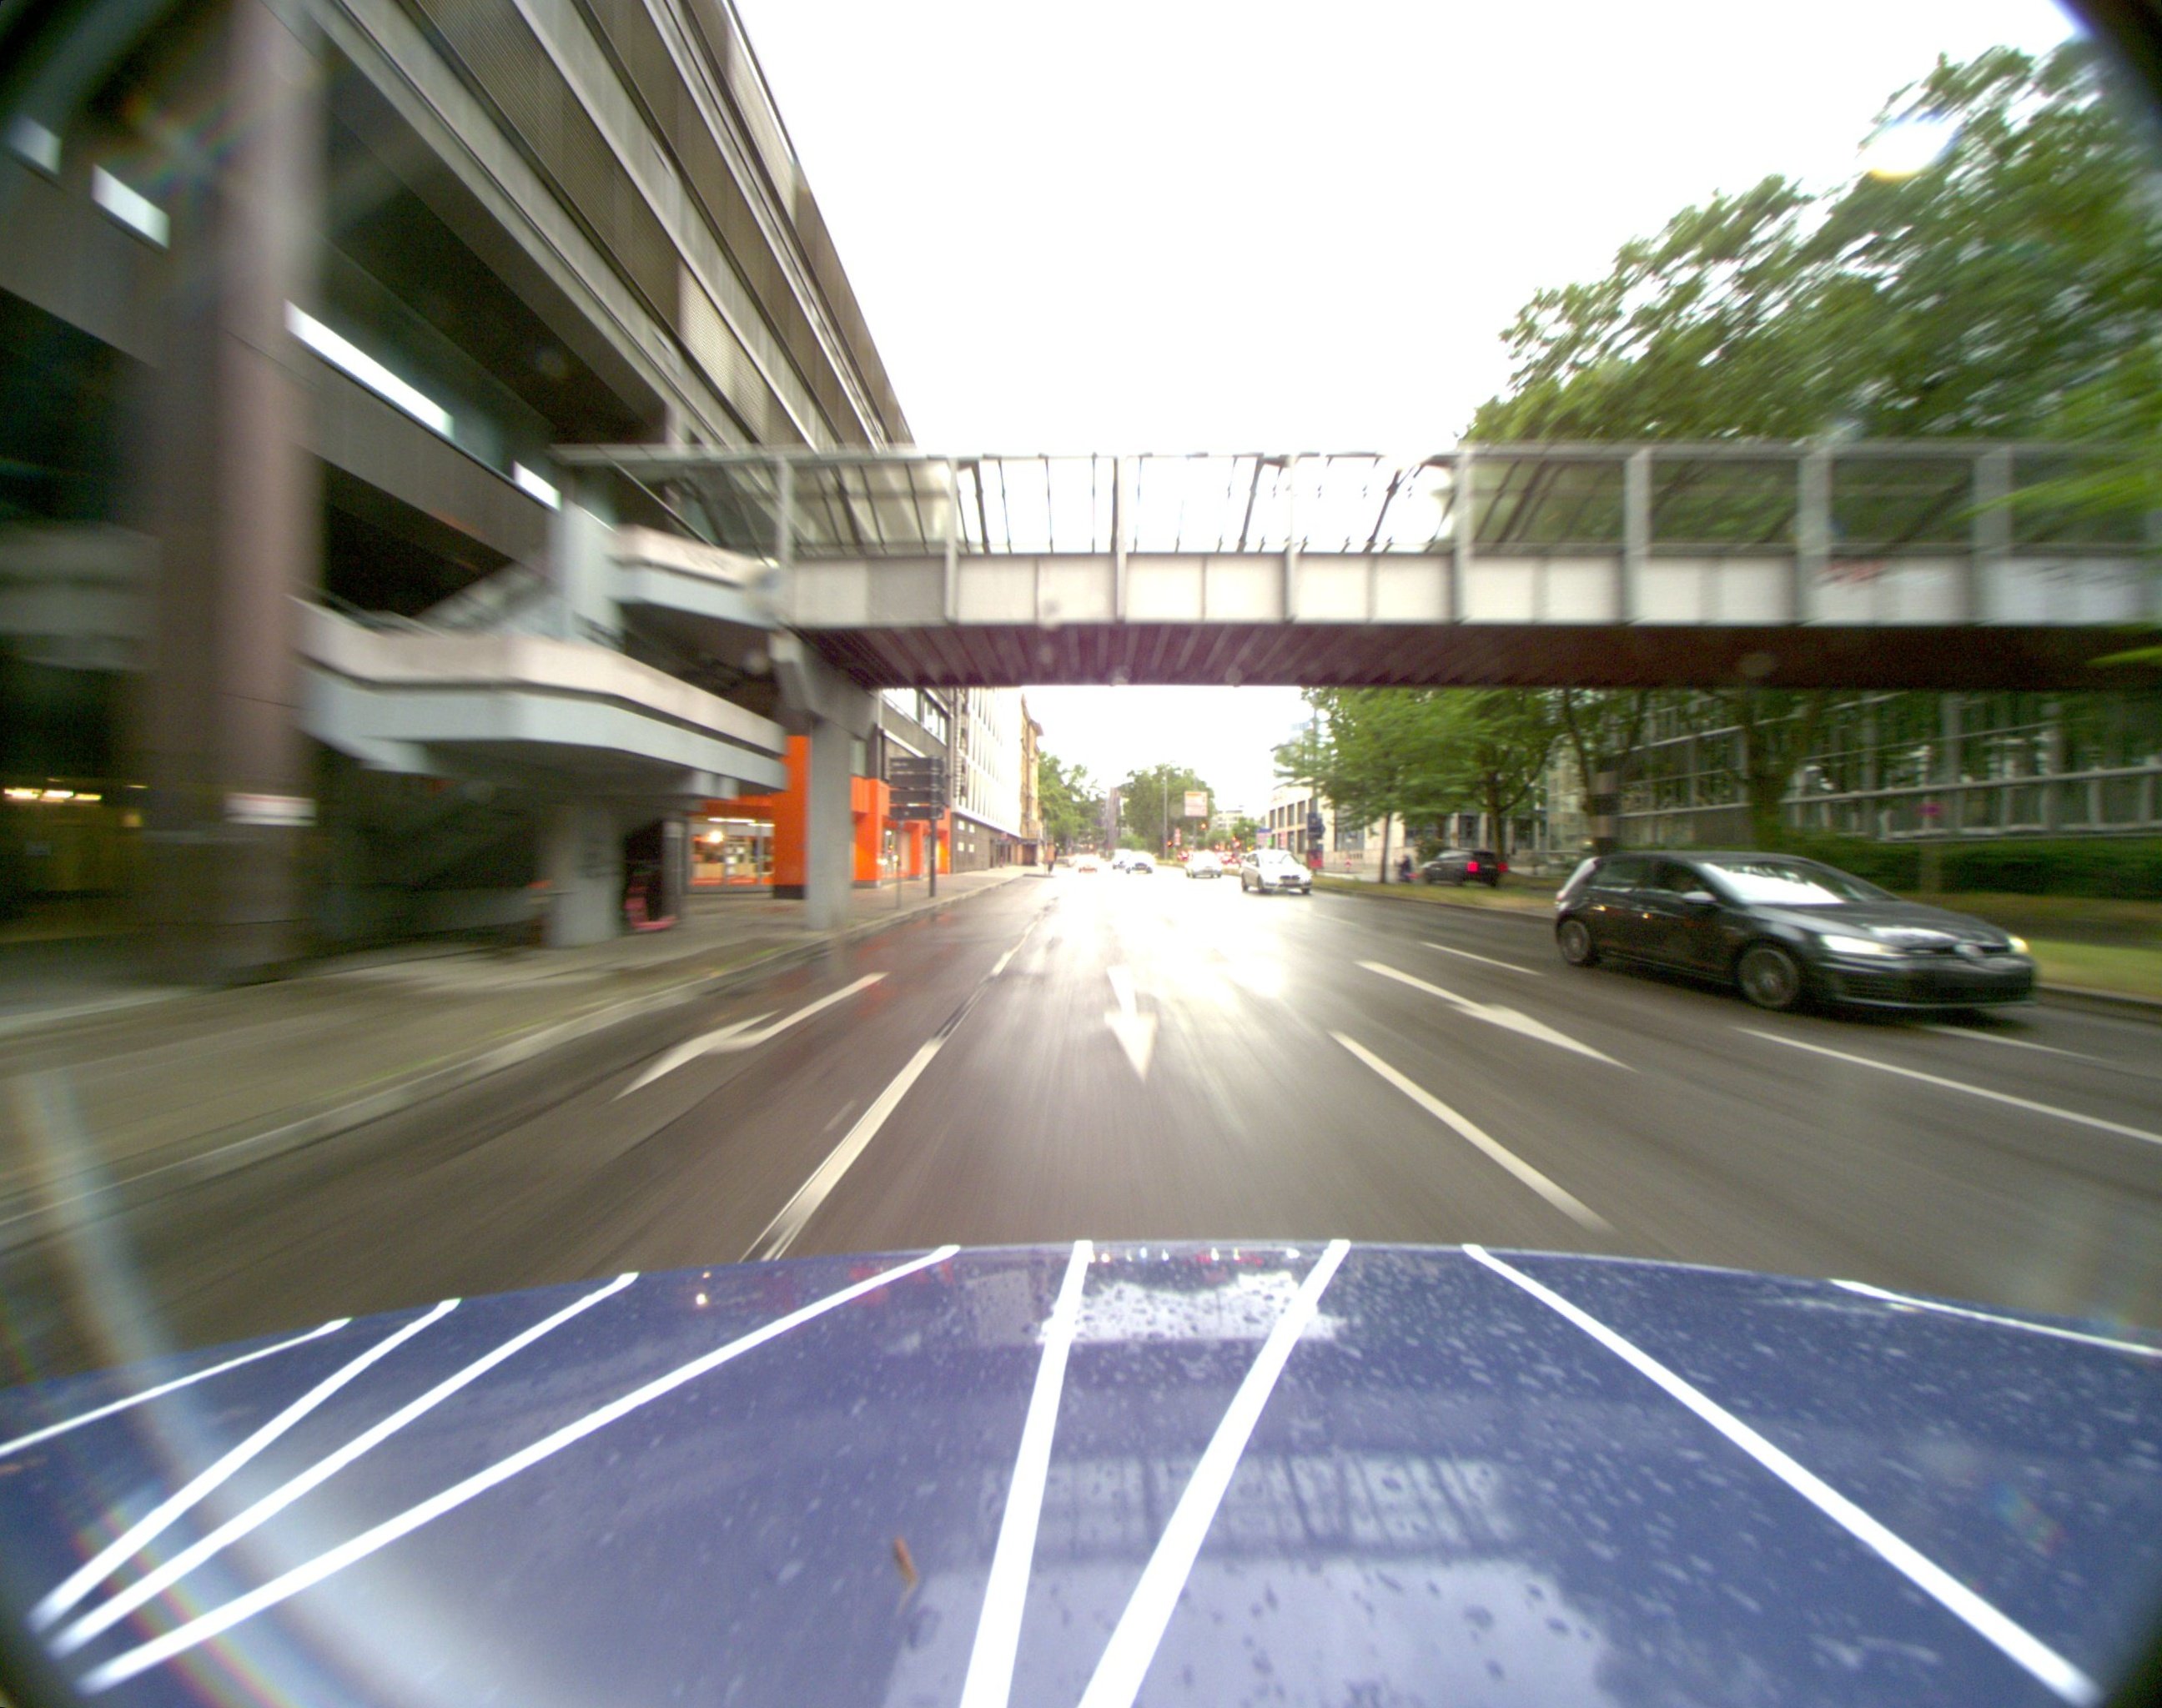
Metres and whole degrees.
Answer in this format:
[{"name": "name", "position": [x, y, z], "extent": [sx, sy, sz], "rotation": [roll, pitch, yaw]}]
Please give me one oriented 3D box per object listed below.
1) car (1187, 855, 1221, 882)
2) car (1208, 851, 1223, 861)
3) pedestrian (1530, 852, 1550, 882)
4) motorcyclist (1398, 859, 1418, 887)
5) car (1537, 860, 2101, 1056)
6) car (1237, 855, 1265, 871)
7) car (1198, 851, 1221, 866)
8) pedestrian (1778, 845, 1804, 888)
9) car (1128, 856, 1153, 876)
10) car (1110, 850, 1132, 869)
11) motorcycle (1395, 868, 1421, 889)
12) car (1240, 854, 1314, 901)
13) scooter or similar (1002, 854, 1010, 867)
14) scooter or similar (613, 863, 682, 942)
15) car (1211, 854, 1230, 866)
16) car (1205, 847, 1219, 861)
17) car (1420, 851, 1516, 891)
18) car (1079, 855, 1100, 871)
[{"name": "car", "position": [7.224, 0.803, 44.940], "extent": [1.611, 1.433, 3.494], "rotation": [-2, 1, 4]}, {"name": "car", "position": [19.579, 0.233, 110.928], "extent": [1.730, 1.424, 4.396], "rotation": [0, 1, 4]}, {"name": "pedestrian", "position": [27.949, 0.778, 46.282], "extent": [0.736, 1.797, 0.802], "rotation": [0, 0, 1]}, {"name": "motorcyclist", "position": [16.678, 0.958, 38.774], "extent": [0.639, 1.410, 0.970], "rotation": [0, 1, 1]}, {"name": "car", "position": [6.959, 0.819, 7.939], "extent": [1.789, 1.444, 4.122], "rotation": [0, 0, -3]}, {"name": "car", "position": [16.661, 0.842, 74.691], "extent": [1.666, 1.455, 4.080], "rotation": [2, 1, -1]}, {"name": "car", "position": [14.994, 0.512, 88.869], "extent": [1.878, 1.671, 4.680], "rotation": [0, 1, 1]}, {"name": "pedestrian", "position": [28.491, 0.502, 30.483], "extent": [0.561, 1.676, 0.511], "rotation": [0, 0, 1]}, {"name": "car", "position": [4.448, 0.858, 56.410], "extent": [1.716, 1.433, 3.495], "rotation": [1, 0, 6]}, {"name": "car", "position": [3.710, 0.534, 71.540], "extent": [1.998, 1.734, 3.910], "rotation": [0, 0, 2]}, {"name": "motorcycle", "position": [16.663, 1.252, 38.776], "extent": [0.586, 1.015, 1.805], "rotation": [0, 0, 1]}, {"name": "car", "position": [7.266, 0.813, 28.583], "extent": [1.781, 1.587, 3.999], "rotation": [0, 1, 0]}, {"name": "scooter or similar", "position": [-6.844, 0.592, 68.970], "extent": [0.412, 1.229, 1.190], "rotation": [0, 0, 9]}, {"name": "scooter or similar", "position": [-7.341, 0.794, 12.922], "extent": [0.350, 1.248, 1.394], "rotation": [0, 0, 1]}, {"name": "car", "position": [18.097, 0.813, 98.963], "extent": [1.695, 1.430, 4.758], "rotation": [0, 1, 1]}, {"name": "car", "position": [20.186, -0.047, 117.180], "extent": [1.835, 1.991, 5.105], "rotation": [0, 1, 6]}, {"name": "car", "position": [19.339, 0.773, 38.320], "extent": [2.005, 1.758, 5.184], "rotation": [3, 0, -1]}, {"name": "car", "position": [0.718, 0.730, 63.815], "extent": [1.716, 1.274, 3.494], "rotation": [0, 0, 0]}]
